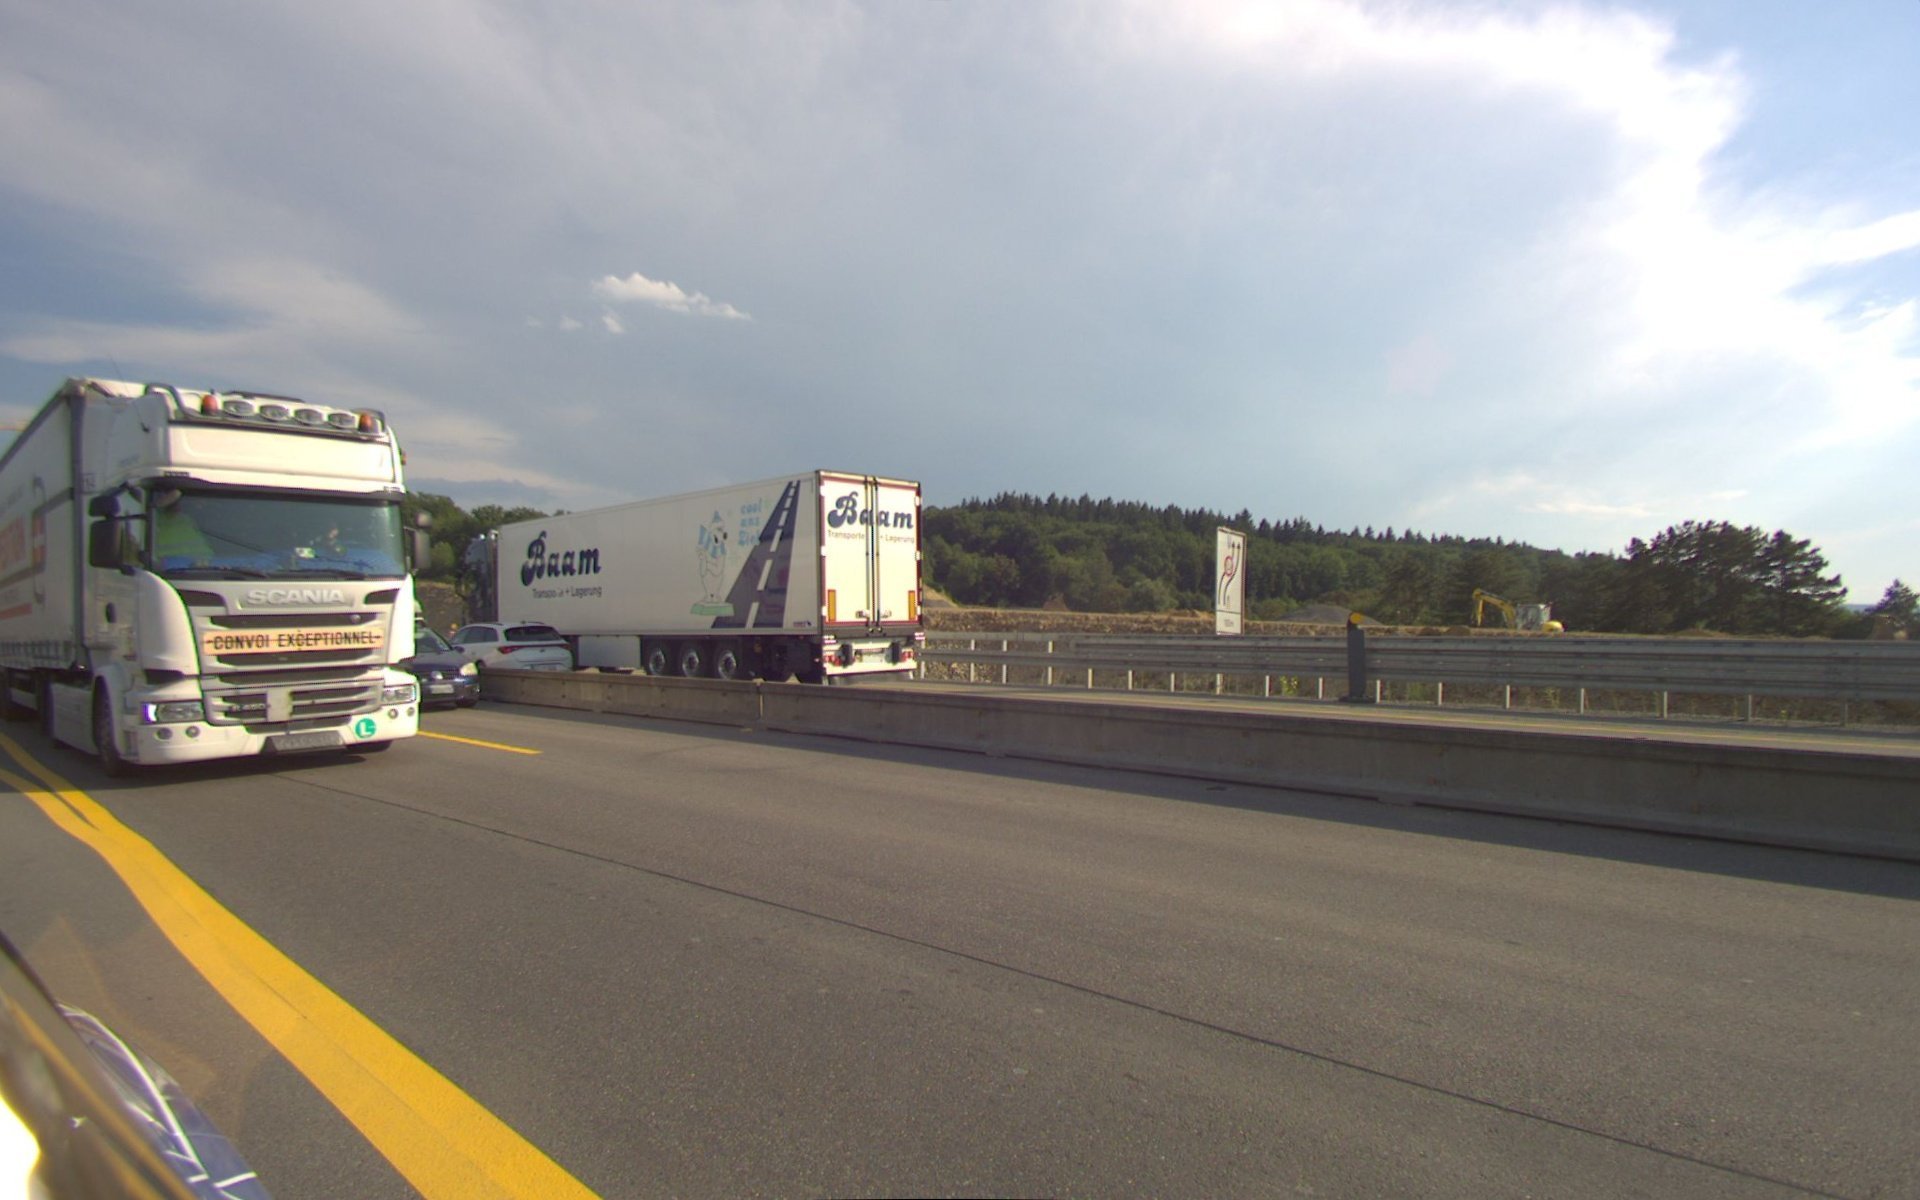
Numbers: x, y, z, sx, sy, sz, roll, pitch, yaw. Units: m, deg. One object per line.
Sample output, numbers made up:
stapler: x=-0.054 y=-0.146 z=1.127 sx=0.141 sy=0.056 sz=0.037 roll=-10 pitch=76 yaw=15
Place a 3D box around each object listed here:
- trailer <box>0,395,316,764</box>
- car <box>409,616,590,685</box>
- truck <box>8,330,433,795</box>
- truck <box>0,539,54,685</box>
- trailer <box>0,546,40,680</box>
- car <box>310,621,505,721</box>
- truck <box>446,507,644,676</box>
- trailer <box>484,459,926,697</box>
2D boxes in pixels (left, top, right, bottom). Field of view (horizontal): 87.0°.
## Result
trailer: x=-13.938 y=-0.134 z=16.144 sx=13.624 sy=3.908 sz=2.454 roll=-1 pitch=-1 yaw=41
car: x=-10.160 y=1.064 z=22.206 sx=4.450 sy=1.376 sz=1.888 roll=-1 pitch=-3 yaw=41
truck: x=-8.509 y=-0.272 z=11.374 sx=6.006 sy=3.908 sz=2.455 roll=-1 pitch=-1 yaw=40
truck: x=-29.120 y=0.369 z=30.263 sx=6.012 sy=4.091 sz=2.453 roll=-1 pitch=-2 yaw=43
trailer: x=-34.793 y=0.467 z=35.299 sx=13.624 sy=4.092 sz=2.454 roll=-1 pitch=-1 yaw=41
car: x=-9.498 y=1.106 z=17.274 sx=3.920 sy=1.496 sz=1.801 roll=-1 pitch=-1 yaw=43
truck: x=-11.427 y=-0.115 z=27.628 sx=6.130 sy=4.097 sz=2.598 roll=-1 pitch=-3 yaw=43
trailer: x=-6.674 y=-0.241 z=23.175 sx=14.081 sy=4.097 sz=2.598 roll=-1 pitch=-3 yaw=43
